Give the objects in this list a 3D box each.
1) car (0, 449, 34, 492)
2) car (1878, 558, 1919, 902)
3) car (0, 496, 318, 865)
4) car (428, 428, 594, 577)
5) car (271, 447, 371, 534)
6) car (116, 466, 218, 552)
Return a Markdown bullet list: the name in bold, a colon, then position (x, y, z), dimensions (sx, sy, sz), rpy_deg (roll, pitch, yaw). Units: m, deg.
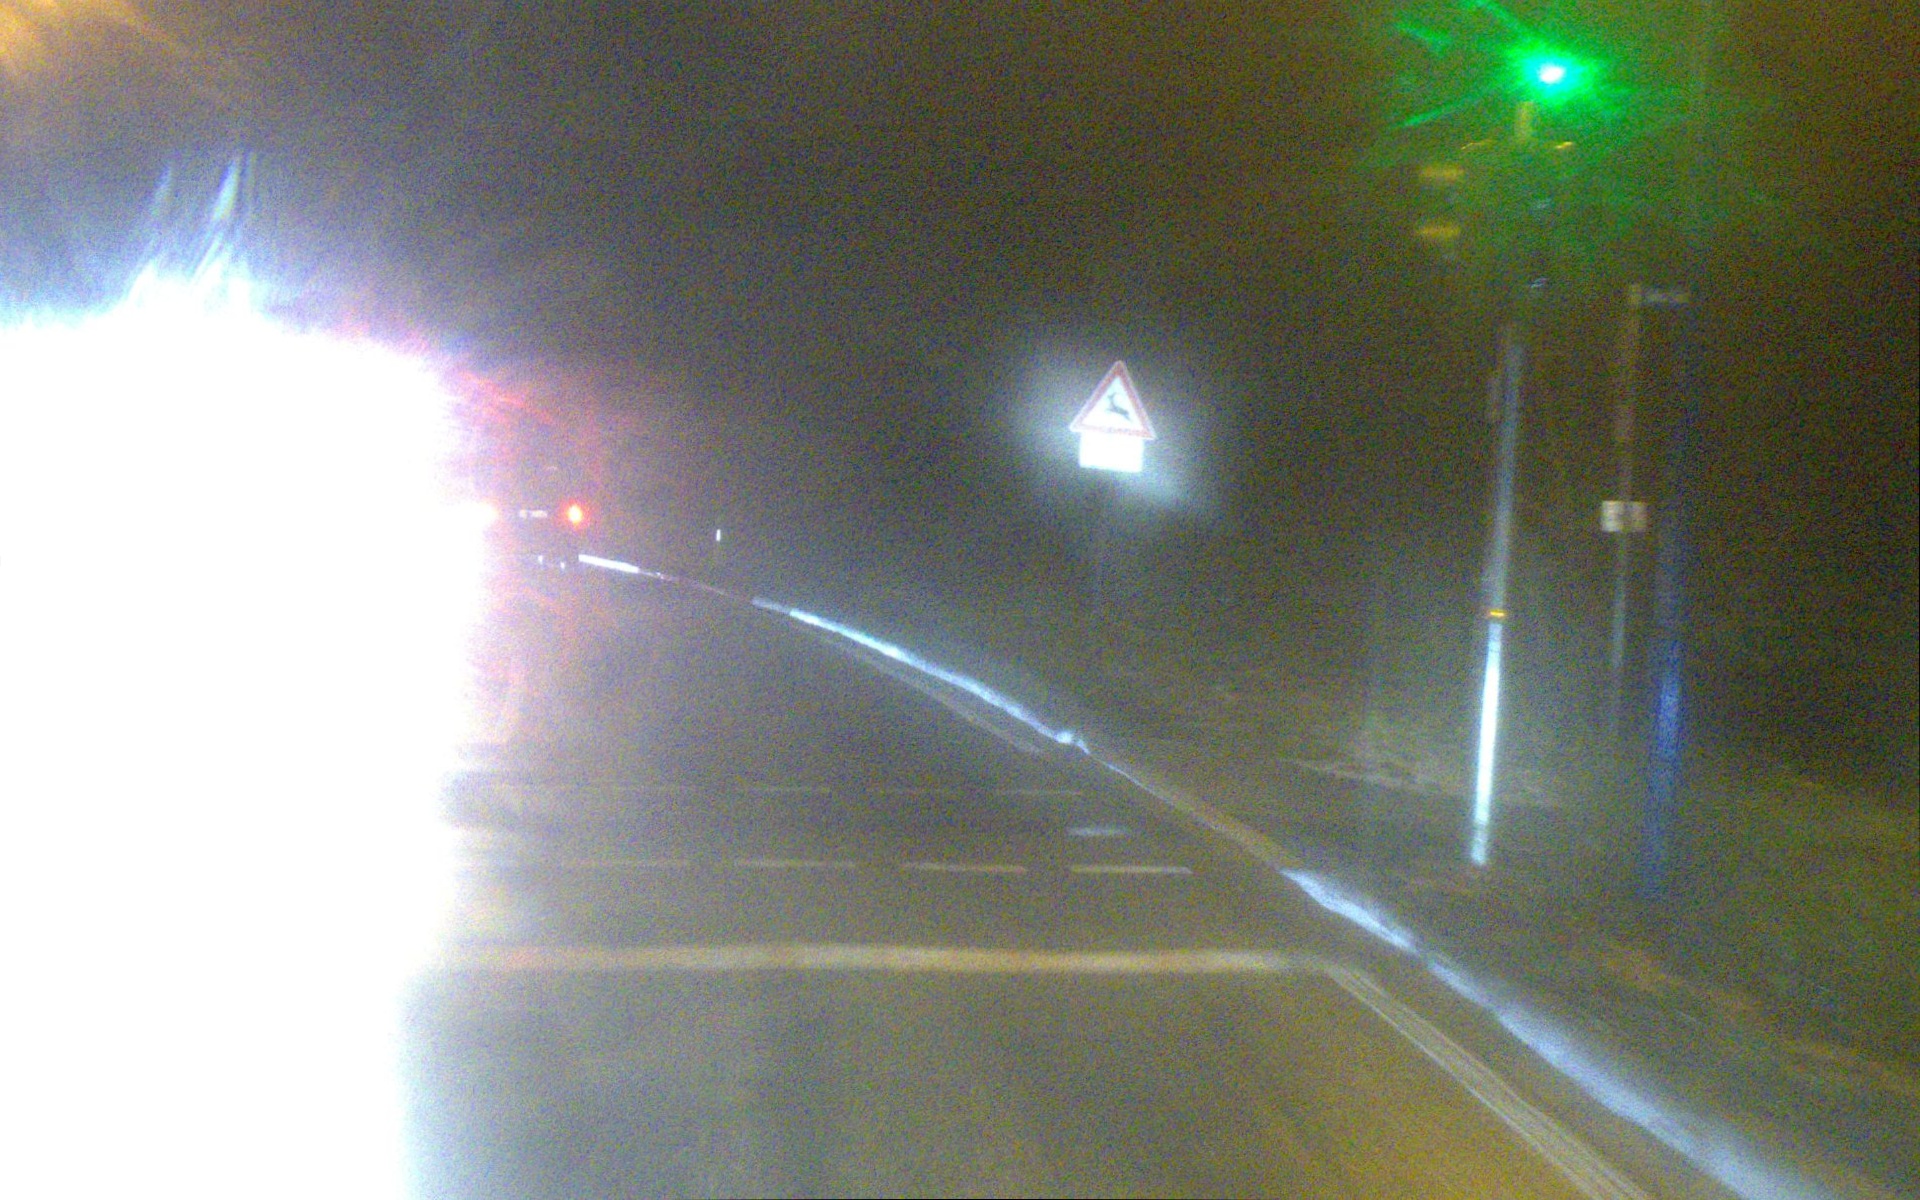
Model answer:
- **car**: position (-33.897, -4.583, 121.783), dimensions (1.635, 1.504, 4.097), rpy_deg (-1, 3, -22)
- **car**: position (5.229, 0.679, 14.975), dimensions (1.674, 1.561, 3.801), rpy_deg (1, 3, 4)
- **car**: position (-4.117, 0.318, 16.193), dimensions (1.635, 1.505, 4.118), rpy_deg (-1, 1, -4)
- **car**: position (-8.012, -1.776, 60.922), dimensions (2.538, 2.489, 5.717), rpy_deg (0, 3, -11)
- **car**: position (-16.275, -2.752, 87.430), dimensions (1.993, 2.007, 4.001), rpy_deg (2, -1, -17)
- **car**: position (-19.773, -2.241, 85.622), dimensions (1.993, 2.007, 4.847), rpy_deg (2, 0, -18)
